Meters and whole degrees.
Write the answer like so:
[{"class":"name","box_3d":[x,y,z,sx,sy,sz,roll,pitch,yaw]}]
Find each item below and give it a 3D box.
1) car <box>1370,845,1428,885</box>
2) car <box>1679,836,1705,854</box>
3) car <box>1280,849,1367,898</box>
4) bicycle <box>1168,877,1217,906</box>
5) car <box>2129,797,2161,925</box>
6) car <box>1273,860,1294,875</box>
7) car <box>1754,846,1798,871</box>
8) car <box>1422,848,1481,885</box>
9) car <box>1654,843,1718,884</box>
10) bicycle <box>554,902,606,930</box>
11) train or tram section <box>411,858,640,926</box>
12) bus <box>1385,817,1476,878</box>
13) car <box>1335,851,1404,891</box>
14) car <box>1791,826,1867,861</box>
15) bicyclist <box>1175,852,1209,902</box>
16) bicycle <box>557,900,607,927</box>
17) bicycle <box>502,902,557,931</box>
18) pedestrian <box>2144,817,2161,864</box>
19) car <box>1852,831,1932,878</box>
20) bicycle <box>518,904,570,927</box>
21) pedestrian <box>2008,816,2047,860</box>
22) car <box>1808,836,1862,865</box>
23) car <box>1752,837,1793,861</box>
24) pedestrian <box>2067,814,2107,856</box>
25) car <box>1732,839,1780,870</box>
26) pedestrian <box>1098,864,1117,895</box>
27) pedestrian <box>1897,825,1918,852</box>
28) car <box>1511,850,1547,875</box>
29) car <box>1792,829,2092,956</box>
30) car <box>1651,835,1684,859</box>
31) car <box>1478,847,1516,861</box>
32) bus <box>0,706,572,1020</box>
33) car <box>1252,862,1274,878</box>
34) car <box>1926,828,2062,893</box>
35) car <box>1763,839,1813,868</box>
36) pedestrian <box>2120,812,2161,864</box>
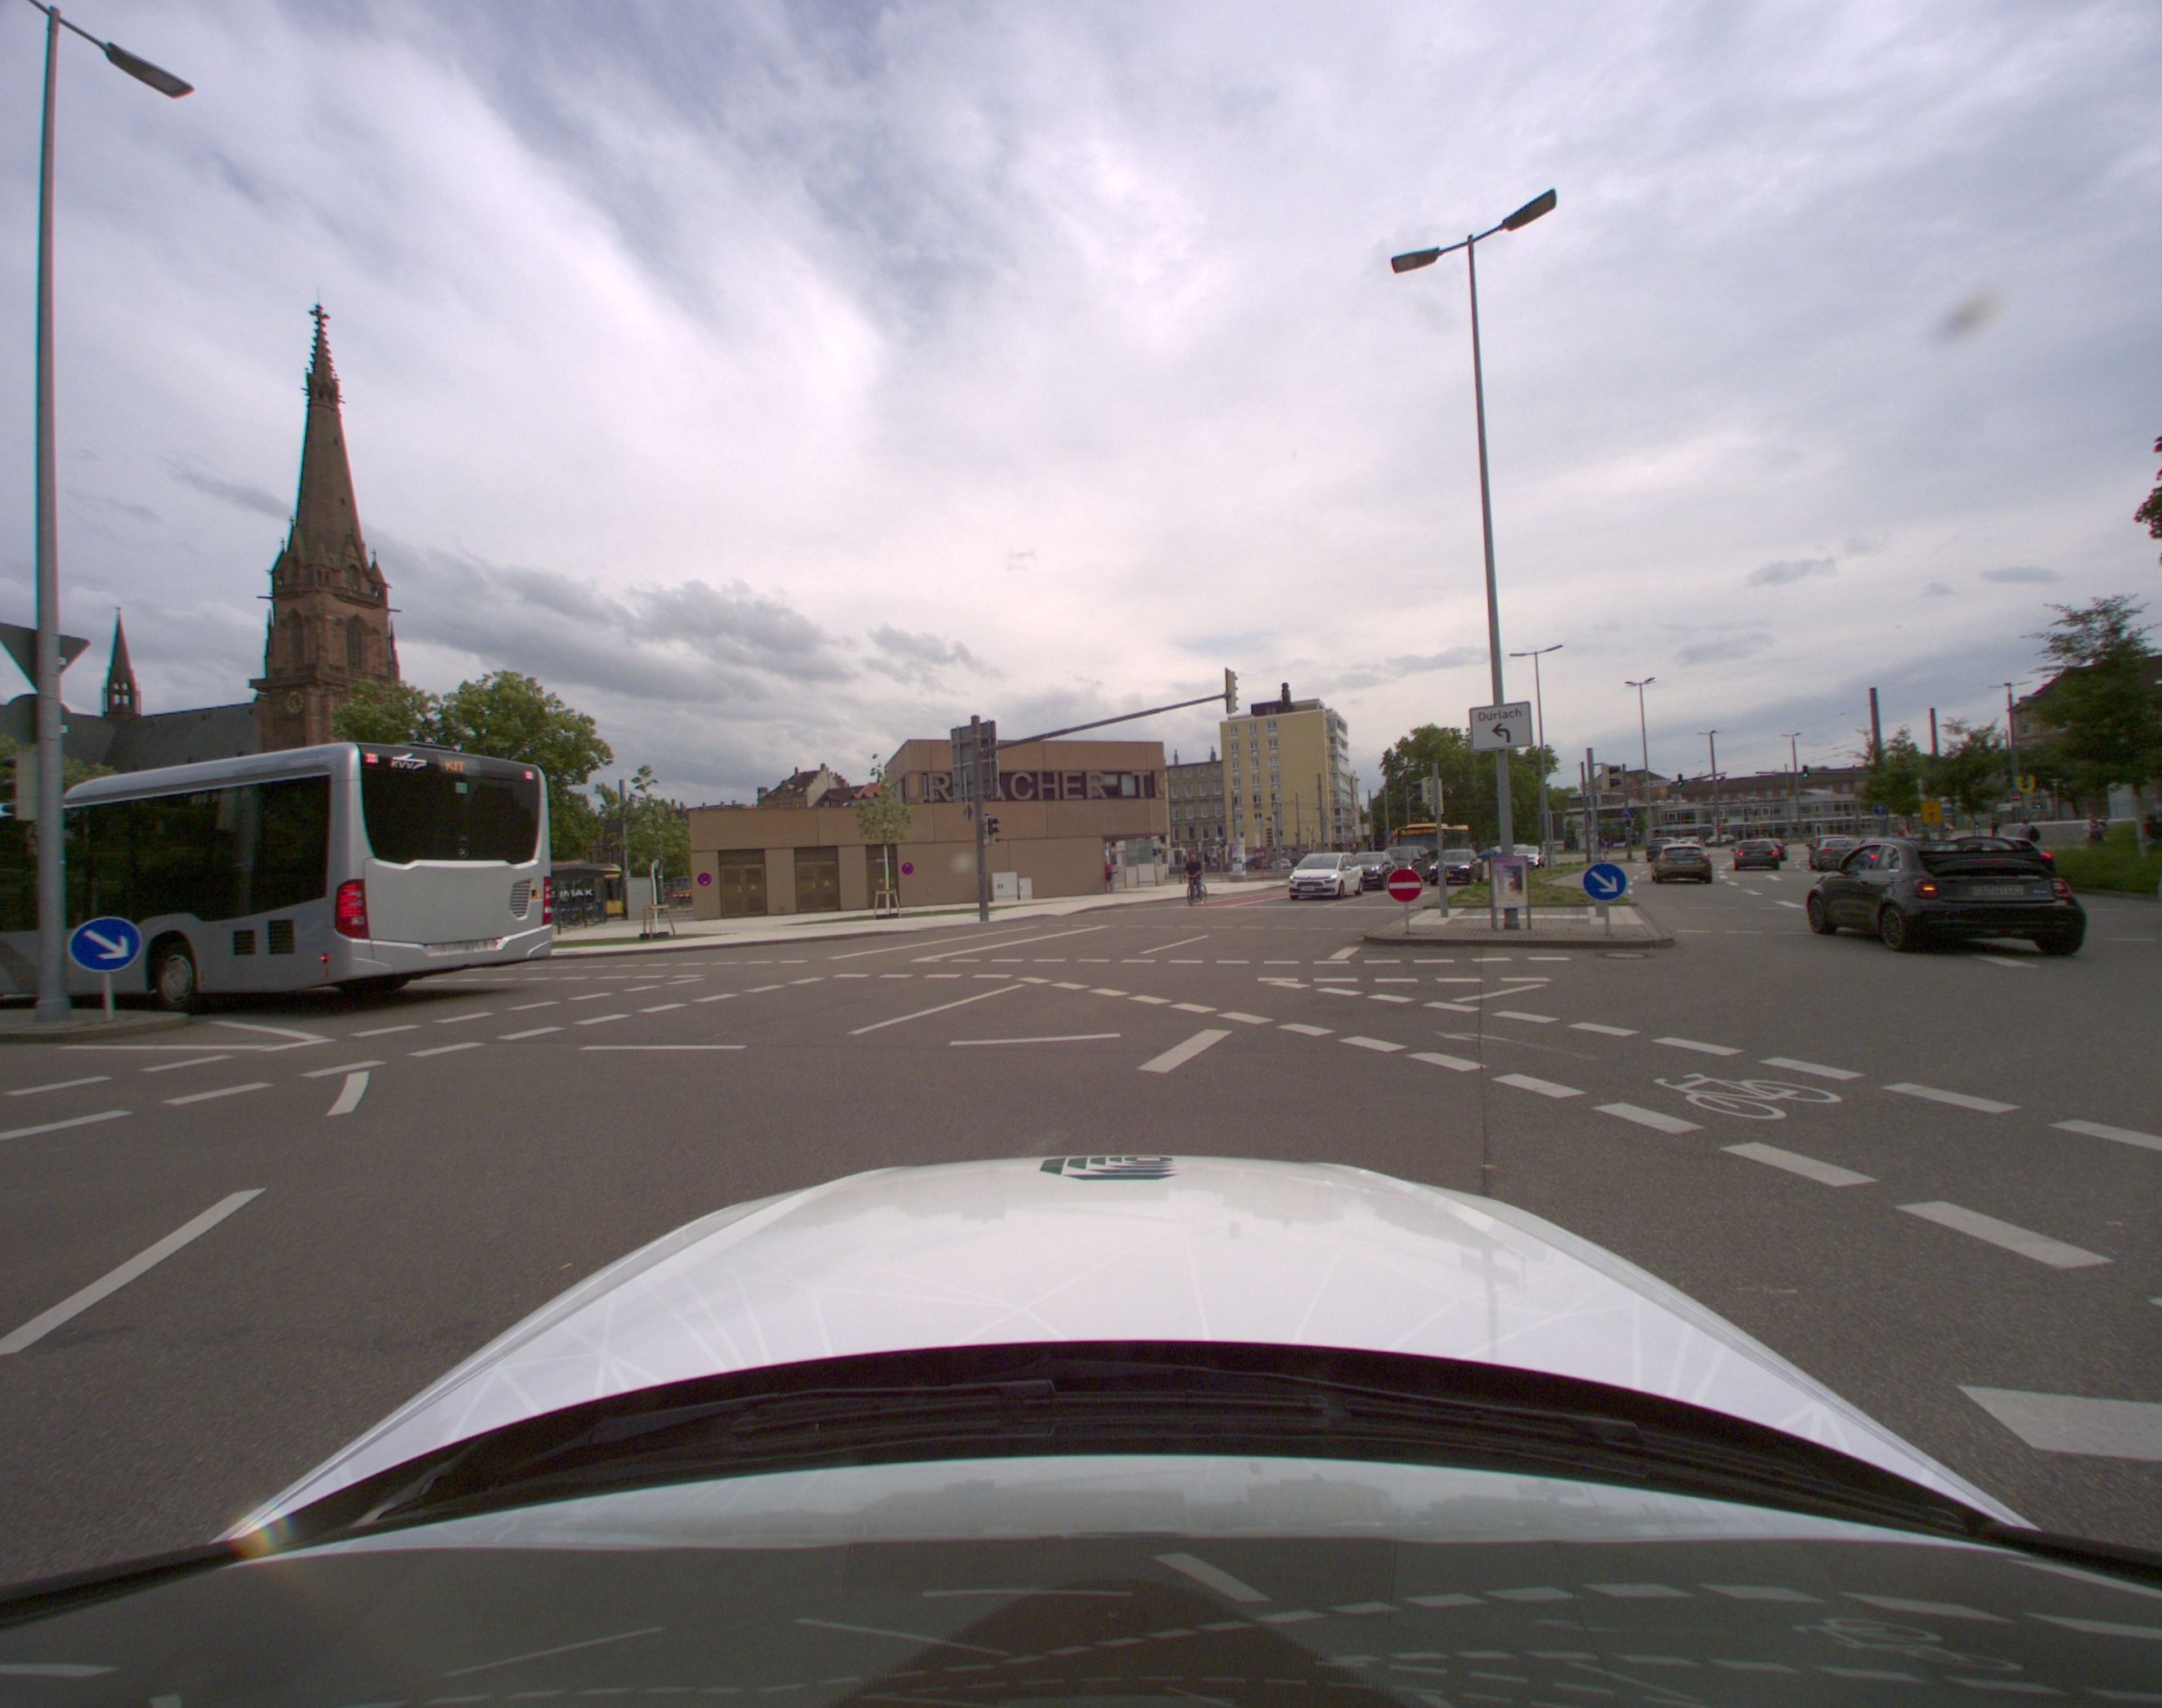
[{"class":"car","box_3d":[16.183,0.546,41.364,1.974,1.899,4.317,-1,-1,31]},{"class":"car","box_3d":[51.397,-0.727,68.470,1.694,1.420,4.025,-2,-1,37]},{"class":"car","box_3d":[8.905,0.694,29.686,1.974,1.651,4.317,-1,-1,31]},{"class":"bicycle","box_3d":[3.794,1.253,27.501,0.854,0.877,2.534,-1,-1,27]},{"class":"car","box_3d":[16.421,0.088,10.386,1.802,1.959,5.237,-1,-1,29]},{"class":"car","box_3d":[27.764,1.856,111.543,1.975,2.014,4.023,-1,-1,26]},{"class":"car","box_3d":[40.342,0.266,47.323,1.694,1.420,3.369,-2,-1,37]},{"class":"car","box_3d":[17.602,0.568,38.569,1.974,1.651,4.540,-1,-1,31]},{"class":"car","box_3d":[22.288,0.353,30.087,1.679,1.405,3.723,-1,-1,34]},{"class":"bicycle","box_3d":[-22.544,2.794,36.696,1.972,1.156,0.578,0,-1,-30]},{"class":"train or tram section","box_3d":[-29.001,1.898,43.150,9.506,3.247,3.041,-1,-1,-21]},{"class":"bus","box_3d":[21.804,-0.319,50.239,3.117,3.255,12.492,-1,-1,33]},{"class":"car","box_3d":[12.697,0.716,35.723,1.974,1.651,4.317,-1,-1,31]},{"class":"car","box_3d":[33.377,-0.445,36.435,2.111,1.420,3.724,-2,-1,37]},{"class":"bicyclist","box_3d":[3.746,0.763,27.444,0.859,1.669,0.886,-1,-1,26]},{"class":"bicycle","box_3d":[-23.228,2.749,37.969,1.972,1.156,0.578,0,-1,-30]},{"class":"bicycle","box_3d":[-24.406,2.754,36.065,1.972,1.156,0.578,0,-1,-30]},{"class":"pedestrian","box_3d":[36.782,-0.476,27.549,0.770,1.574,0.817,-6,-3,43]},{"class":"car","box_3d":[28.198,0.029,28.406,1.840,1.533,4.026,-2,-1,44]},{"class":"bicycle","box_3d":[-25.279,2.880,38.401,1.969,0.970,0.579,-1,-1,-24]},{"class":"pedestrian","box_3d":[35.497,-0.604,30.550,0.770,1.574,0.817,-6,-3,43]},{"class":"car","box_3d":[39.571,-0.179,42.816,1.687,1.420,3.724,-2,-1,37]},{"class":"car","box_3d":[43.170,-0.267,50.929,1.694,1.420,4.025,-2,-1,37]},{"class":"pedestrian","box_3d":[39.049,-0.735,31.621,0.770,1.574,0.817,-6,-3,43]},{"class":"car","box_3d":[32.777,0.022,39.630,1.694,1.420,4.025,-2,-1,38]},{"class":"pedestrian","box_3d":[1.532,1.475,46.956,0.811,1.733,0.776,-3,-2,-14]},{"class":"pedestrian","box_3d":[51.651,-0.968,50.909,0.770,1.574,0.817,-6,-3,43]},{"class":"car","box_3d":[31.315,0.608,56.909,1.974,1.651,4.540,-1,-1,31]},{"class":"car","box_3d":[11.811,0.489,11.506,1.651,1.489,3.460,-2,-1,24]},{"class":"car","box_3d":[40.967,-0.477,56.914,1.816,1.615,3.569,-2,-1,36]},{"class":"car","box_3d":[43.517,0.017,85.256,1.408,1.226,3.248,-2,-1,-33]},{"class":"bus","box_3d":[-14.453,0.563,12.508,14.023,3.438,2.726,-4,-2,18]},{"class":"car","box_3d":[25.138,2.189,112.424,1.975,2.014,4.023,-1,-1,26]},{"class":"car","box_3d":[23.159,0.178,20.801,1.650,1.508,3.657,-2,-1,38]},{"class":"car","box_3d":[37.123,-0.003,42.818,1.694,1.420,4.025,-2,-1,37]},{"class":"pedestrian","box_3d":[33.651,-0.494,25.756,0.770,1.574,0.817,-6,-3,43]}]
